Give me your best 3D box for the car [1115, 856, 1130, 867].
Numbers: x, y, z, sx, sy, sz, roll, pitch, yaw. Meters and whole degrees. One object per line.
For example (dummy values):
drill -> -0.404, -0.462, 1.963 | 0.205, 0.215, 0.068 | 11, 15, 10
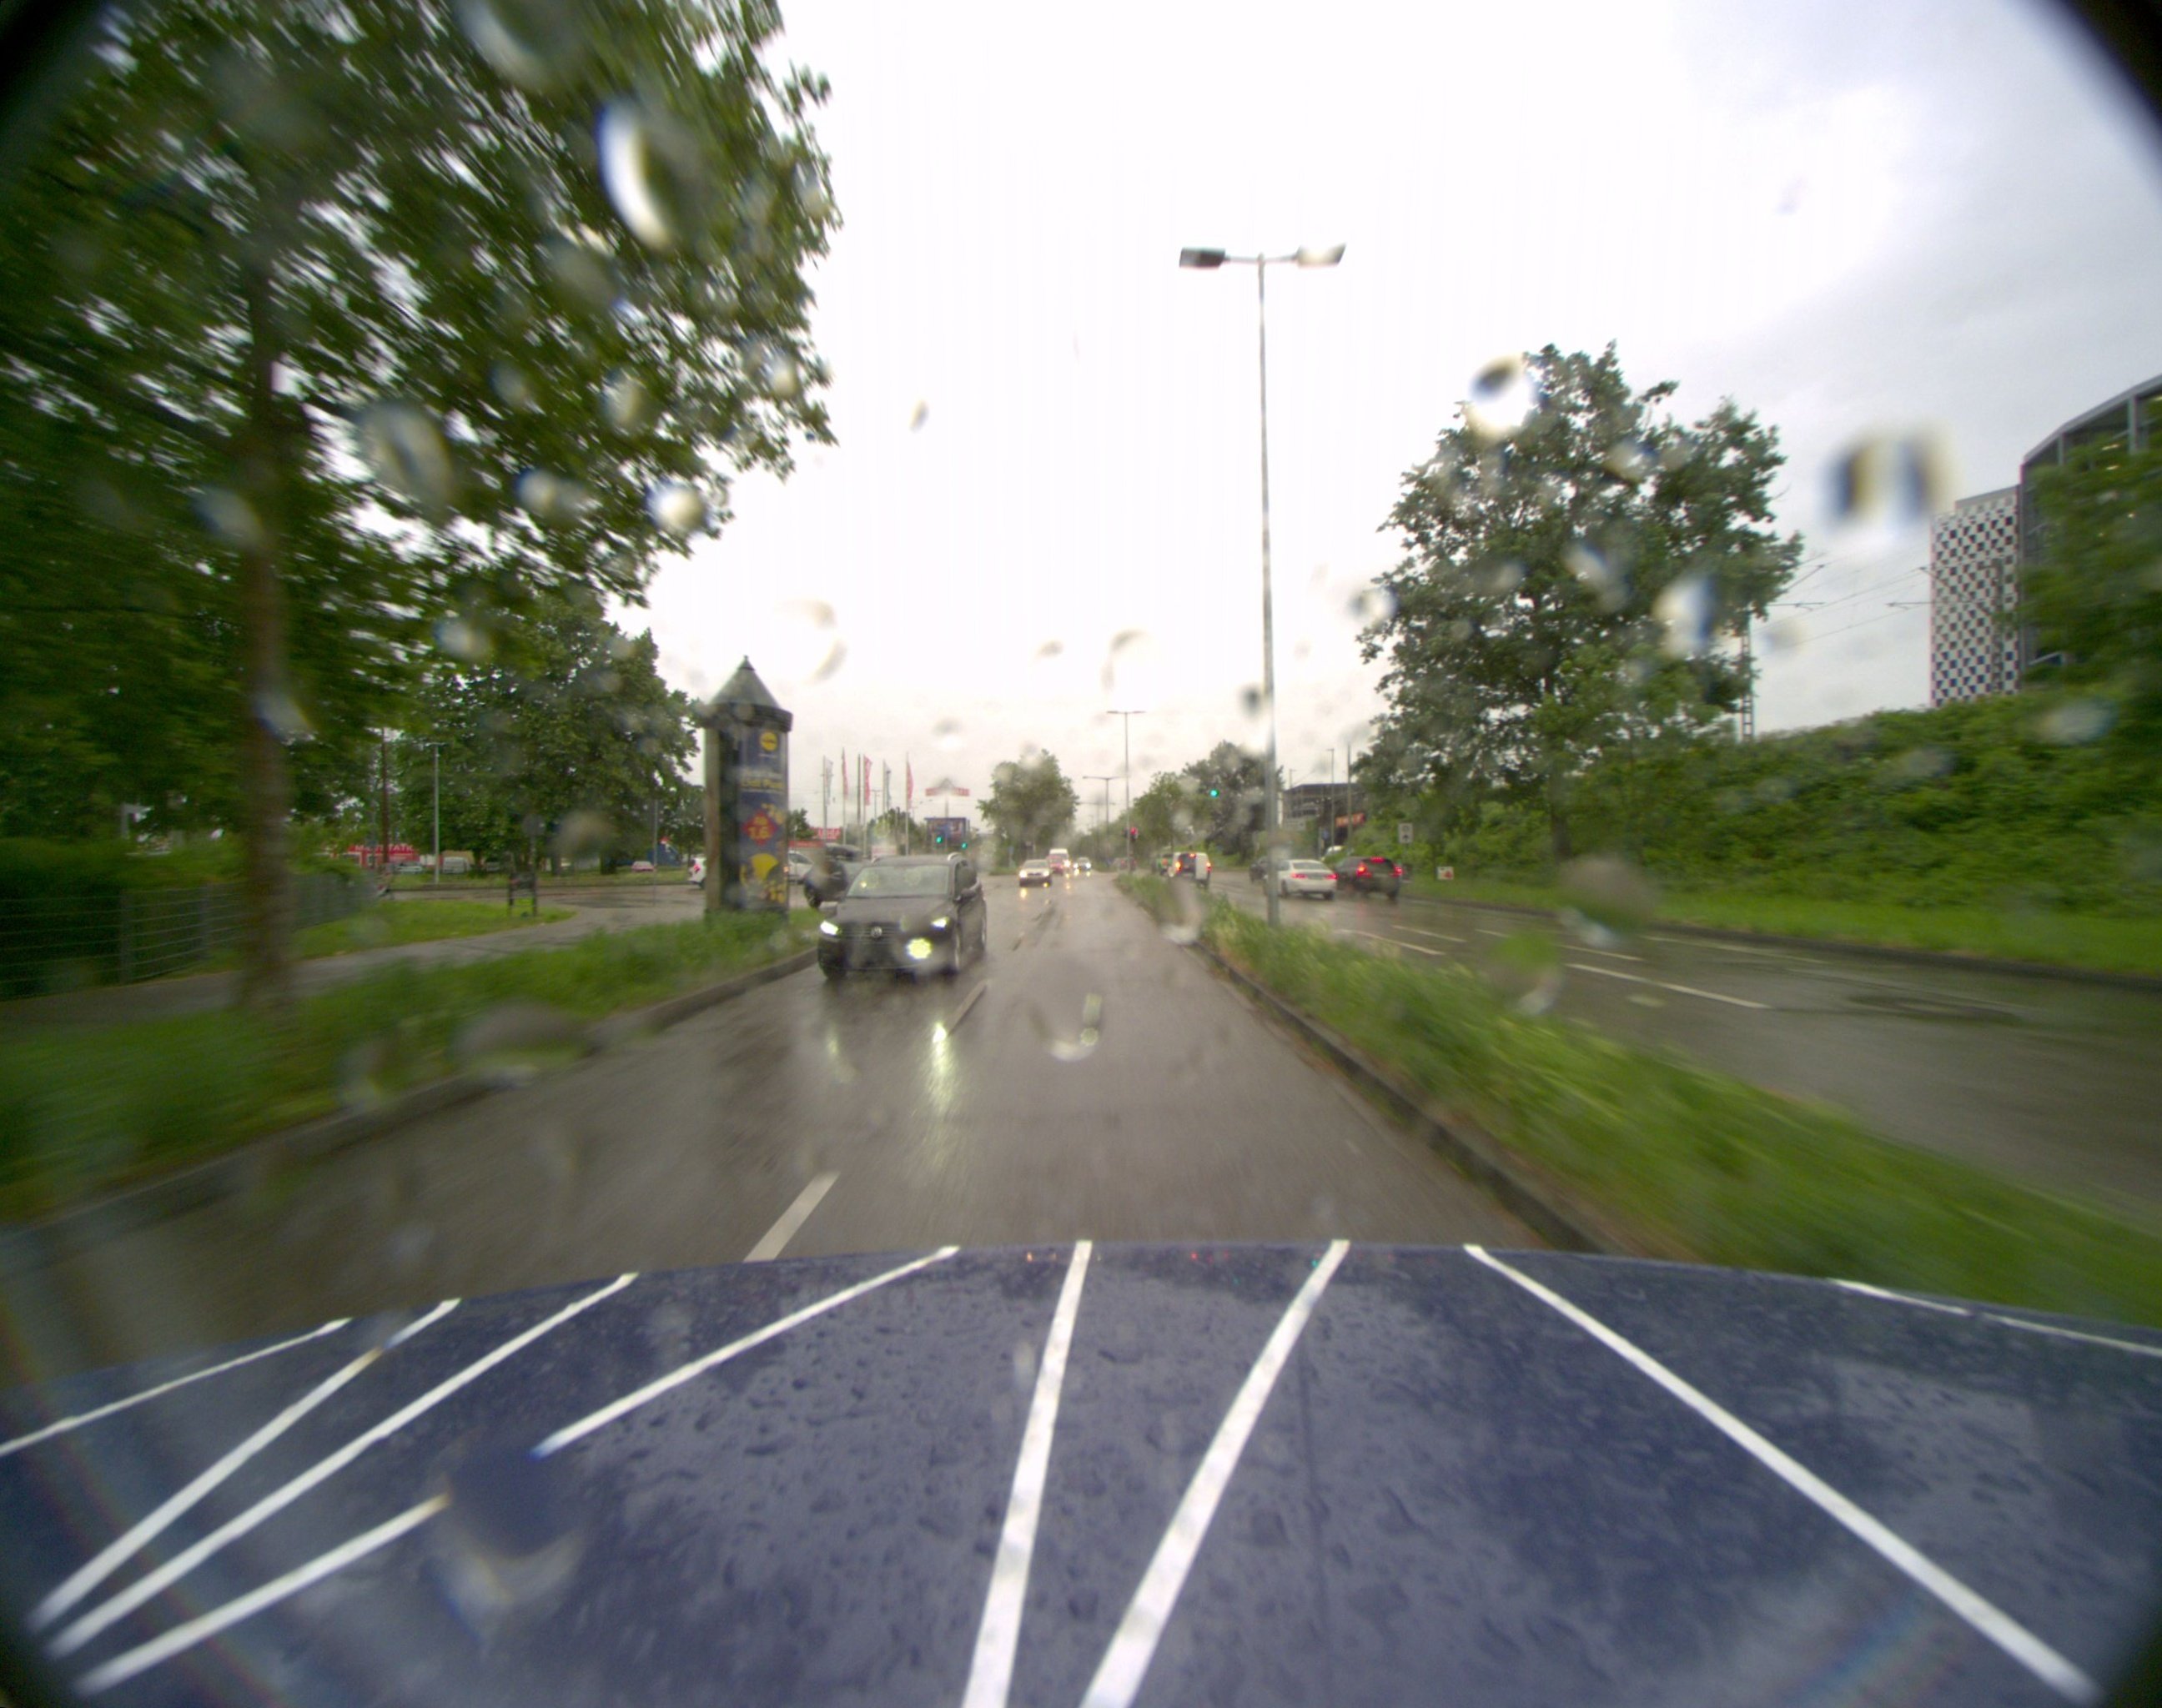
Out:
car -> 5.956, 1.060, 110.473 | 1.697, 1.592, 3.622 | 0, 0, -5

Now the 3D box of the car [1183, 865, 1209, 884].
car -> 10.367, 1.849, 68.651 | 1.676, 1.535, 3.787 | 1, 0, -1

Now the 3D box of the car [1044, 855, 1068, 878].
car -> -2.002, 0.970, 61.844 | 1.699, 1.759, 4.558 | -1, 0, 1

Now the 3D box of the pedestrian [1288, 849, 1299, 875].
pedestrian -> 14.387, 0.537, 51.435 | 0.485, 1.777, 0.626 | 0, 1, -8

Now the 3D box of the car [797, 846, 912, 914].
car -> -7.576, 0.778, 25.129 | 1.936, 2.044, 4.742 | 0, 0, -40

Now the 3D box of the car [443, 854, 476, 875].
car -> -53.591, 0.869, 65.575 | 1.870, 1.718, 3.957 | 0, 0, -35

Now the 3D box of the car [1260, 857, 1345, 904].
car -> 8.526, 0.960, 29.676 | 1.903, 1.603, 4.711 | 2, 0, 0

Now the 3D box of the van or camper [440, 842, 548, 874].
van or camper -> -62.871, 0.367, 81.757 | 8.995, 3.139, 2.979 | -2, 2, -35

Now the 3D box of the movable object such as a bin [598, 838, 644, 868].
movable object such as a bin -> -53.108, -0.141, 87.749 | 4.261, 3.266, 2.321 | -3, 2, -37

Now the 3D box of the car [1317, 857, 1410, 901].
car -> 11.378, 0.952, 31.002 | 2.042, 1.650, 4.678 | 0, 0, -1

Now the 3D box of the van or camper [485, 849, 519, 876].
van or camper -> -50.940, 0.708, 66.892 | 2.138, 2.286, 4.455 | 0, 0, -35

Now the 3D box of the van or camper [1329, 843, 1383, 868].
van or camper -> 30.072, 0.142, 82.997 | 6.941, 2.647, 1.995 | 0, 1, -35

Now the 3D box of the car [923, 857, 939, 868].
car -> -22.893, 1.252, 116.142 | 1.822, 1.610, 3.999 | 0, 0, -2

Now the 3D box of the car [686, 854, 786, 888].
car -> -17.990, 0.858, 39.701 | 4.470, 1.663, 1.863 | 0, 0, -38

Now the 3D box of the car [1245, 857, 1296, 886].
car -> 11.158, 1.003, 45.004 | 1.903, 1.603, 4.405 | 0, 0, -1

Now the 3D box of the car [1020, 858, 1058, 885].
car -> -2.350, 0.940, 43.333 | 1.807, 1.422, 4.386 | -1, 0, 1

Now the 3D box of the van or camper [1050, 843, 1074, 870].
van or camper -> -1.903, 0.251, 76.798 | 2.100, 2.579, 4.776 | -2, 0, 1

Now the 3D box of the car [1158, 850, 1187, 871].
car -> 7.106, 0.493, 59.250 | 1.780, 1.552, 3.774 | -2, 0, 1

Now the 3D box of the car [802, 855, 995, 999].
car -> -2.482, 0.897, 11.448 | 1.861, 1.716, 4.190 | -2, 0, 0

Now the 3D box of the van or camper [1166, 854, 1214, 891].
van or camper -> 5.431, 0.867, 38.218 | 1.733, 1.732, 3.999 | 2, 0, -1

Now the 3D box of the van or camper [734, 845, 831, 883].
van or camper -> -17.319, 0.550, 44.234 | 4.918, 2.076, 1.863 | 0, 0, -38

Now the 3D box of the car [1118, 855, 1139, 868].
car -> 5.873, 0.930, 94.298 | 1.977, 1.592, 4.385 | 0, 0, -6

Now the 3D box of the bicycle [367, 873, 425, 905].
bicycle -> -23.482, 1.183, 26.060 | 1.621, 1.032, 0.814 | 0, 0, 21
